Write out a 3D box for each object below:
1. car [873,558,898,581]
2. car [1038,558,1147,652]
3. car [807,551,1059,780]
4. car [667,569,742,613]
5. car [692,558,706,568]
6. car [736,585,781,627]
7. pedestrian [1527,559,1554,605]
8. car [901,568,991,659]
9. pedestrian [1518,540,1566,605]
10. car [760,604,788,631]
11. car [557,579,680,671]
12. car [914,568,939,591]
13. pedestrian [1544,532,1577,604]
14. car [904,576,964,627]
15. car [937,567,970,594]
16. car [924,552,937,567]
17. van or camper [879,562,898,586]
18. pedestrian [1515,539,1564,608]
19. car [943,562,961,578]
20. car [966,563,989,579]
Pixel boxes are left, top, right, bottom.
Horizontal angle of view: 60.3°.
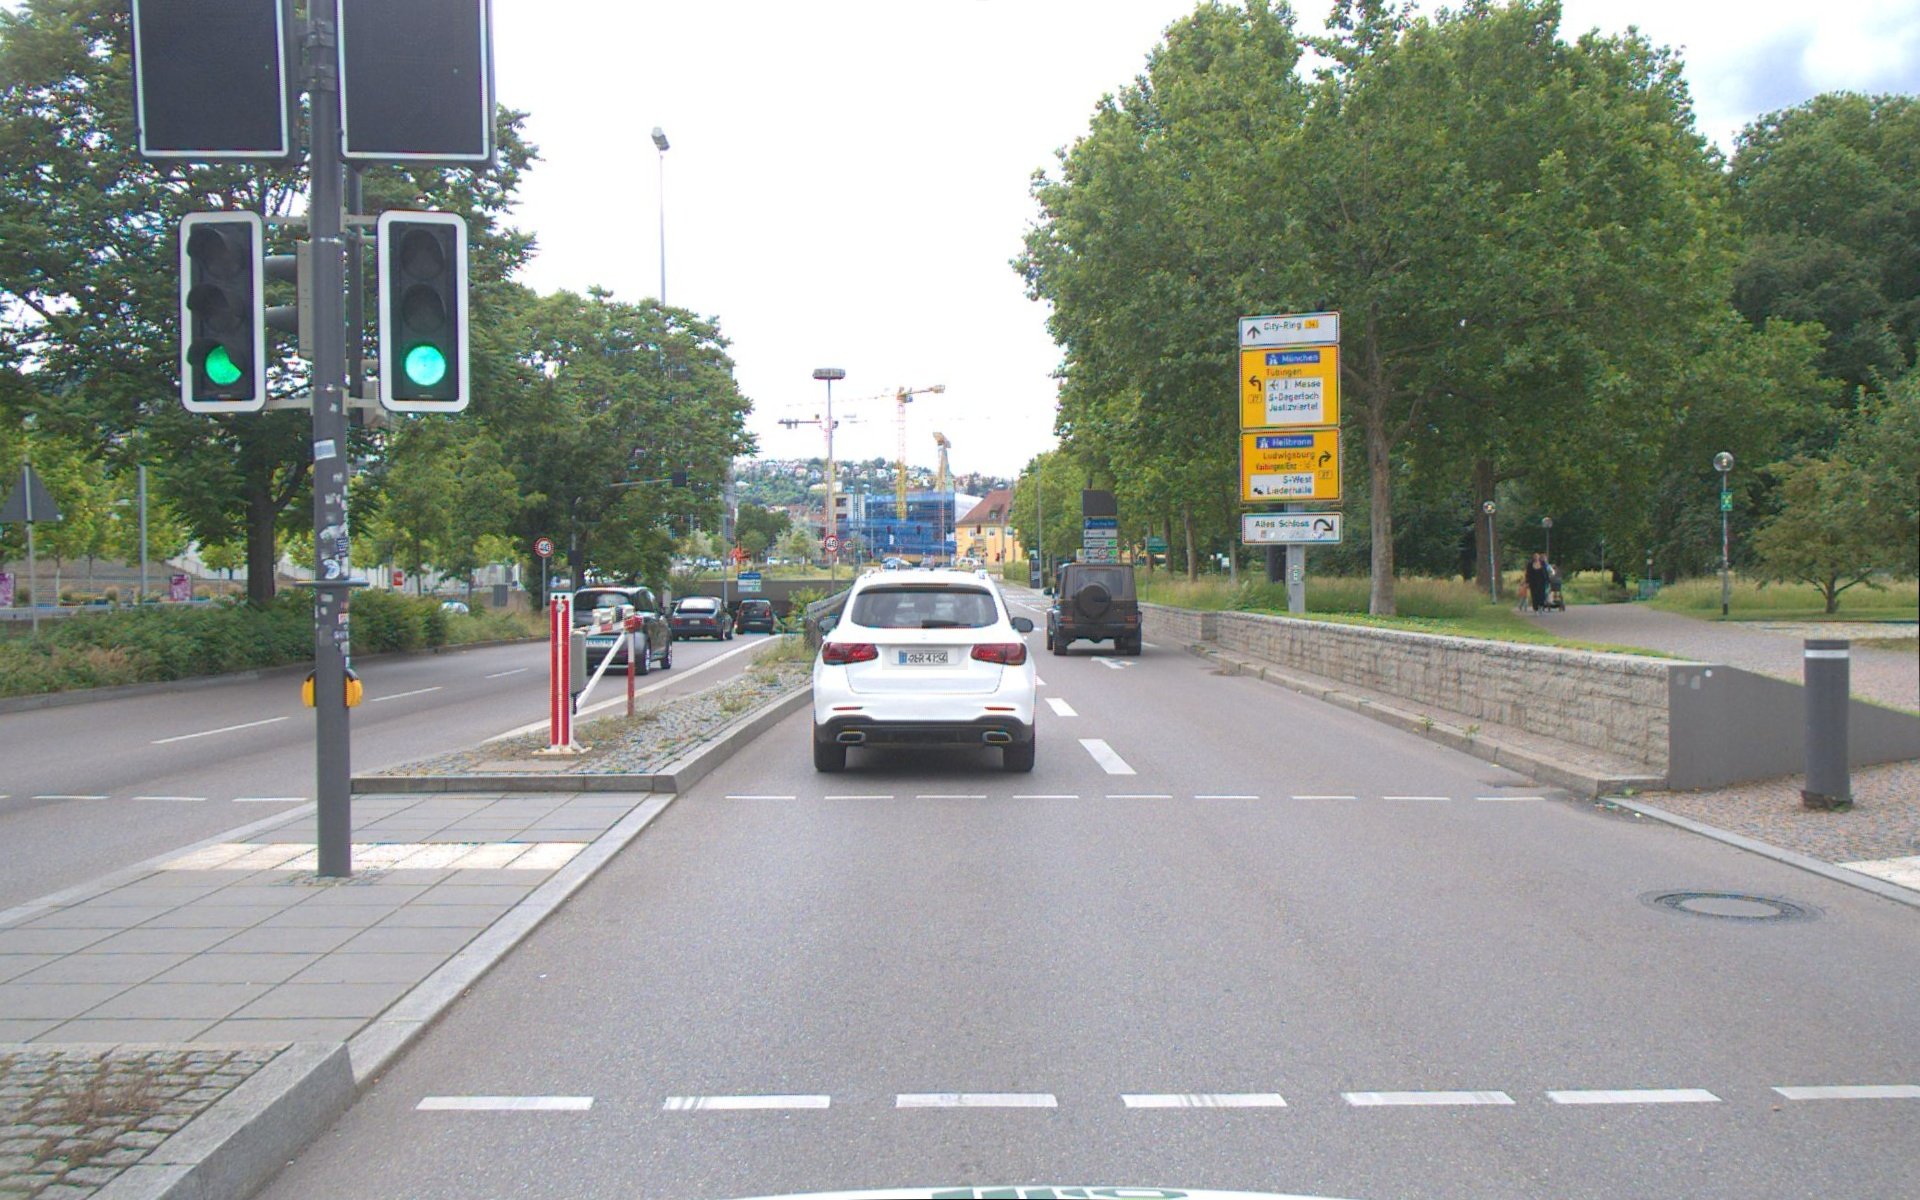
[{"bbox_3d":[-6.231,-2.583,139.336,1.953,1.787,3.999,2,0,-1],"label":"car"},{"bbox_3d":[2.920,0.115,37.402,1.937,1.926,4.706,2,0,-1],"label":"car"},{"bbox_3d":[-0.310,0.512,14.785,1.902,1.713,3.997,2,0,-3],"label":"car"},{"bbox_3d":[-8.177,-0.295,53.239,1.683,1.315,4.001,2,1,1],"label":"car"},{"bbox_3d":[-39.002,-5.514,247.222,1.798,1.384,3.862,2,0,-8],"label":"car"},{"bbox_3d":[-8.862,0.239,72.910,1.685,1.708,3.997,2,1,-4],"label":"car"},{"bbox_3d":[17.309,-0.542,49.286,0.570,1.348,0.541,2,-1,-2],"label":"pedestrian"},{"bbox_3d":[-0.323,0.270,33.220,1.638,1.656,3.998,2,0,-2],"label":"car"},{"bbox_3d":[17.328,-0.817,49.300,0.977,1.868,1.029,2,0,-5],"label":"pedestrian"},{"bbox_3d":[-12.152,1.123,108.103,1.686,1.612,3.995,2,1,-6],"label":"car"},{"bbox_3d":[-6.089,0.420,29.807,1.595,1.535,3.538,1,0,-3],"label":"car"},{"bbox_3d":[-2.879,-1.723,141.438,1.954,1.812,3.998,2,0,-3],"label":"car"},{"bbox_3d":[17.389,-0.929,47.900,0.559,2.049,0.932,2,0,-2],"label":"pedestrian"},{"bbox_3d":[-0.908,0.012,56.177,1.884,1.629,3.998,1,1,-3],"label":"car"},{"bbox_3d":[-0.453,-1.306,109.996,1.954,1.691,3.998,2,0,-3],"label":"car"},{"bbox_3d":[-4.432,-6.085,248.395,1.764,2.049,3.998,2,0,-3],"label":"car"},{"bbox_3d":[-7.579,-2.757,175.286,1.884,2.360,3.997,1,-1,-3],"label":"van or camper"},{"bbox_3d":[15.272,-0.699,43.623,0.878,1.763,0.968,2,0,-2],"label":"pedestrian"},{"bbox_3d":[-0.860,-3.270,179.365,1.685,1.612,3.997,2,1,-4],"label":"car"},{"bbox_3d":[1.909,-3.184,183.391,1.956,1.646,3.994,2,0,-7],"label":"car"}]
